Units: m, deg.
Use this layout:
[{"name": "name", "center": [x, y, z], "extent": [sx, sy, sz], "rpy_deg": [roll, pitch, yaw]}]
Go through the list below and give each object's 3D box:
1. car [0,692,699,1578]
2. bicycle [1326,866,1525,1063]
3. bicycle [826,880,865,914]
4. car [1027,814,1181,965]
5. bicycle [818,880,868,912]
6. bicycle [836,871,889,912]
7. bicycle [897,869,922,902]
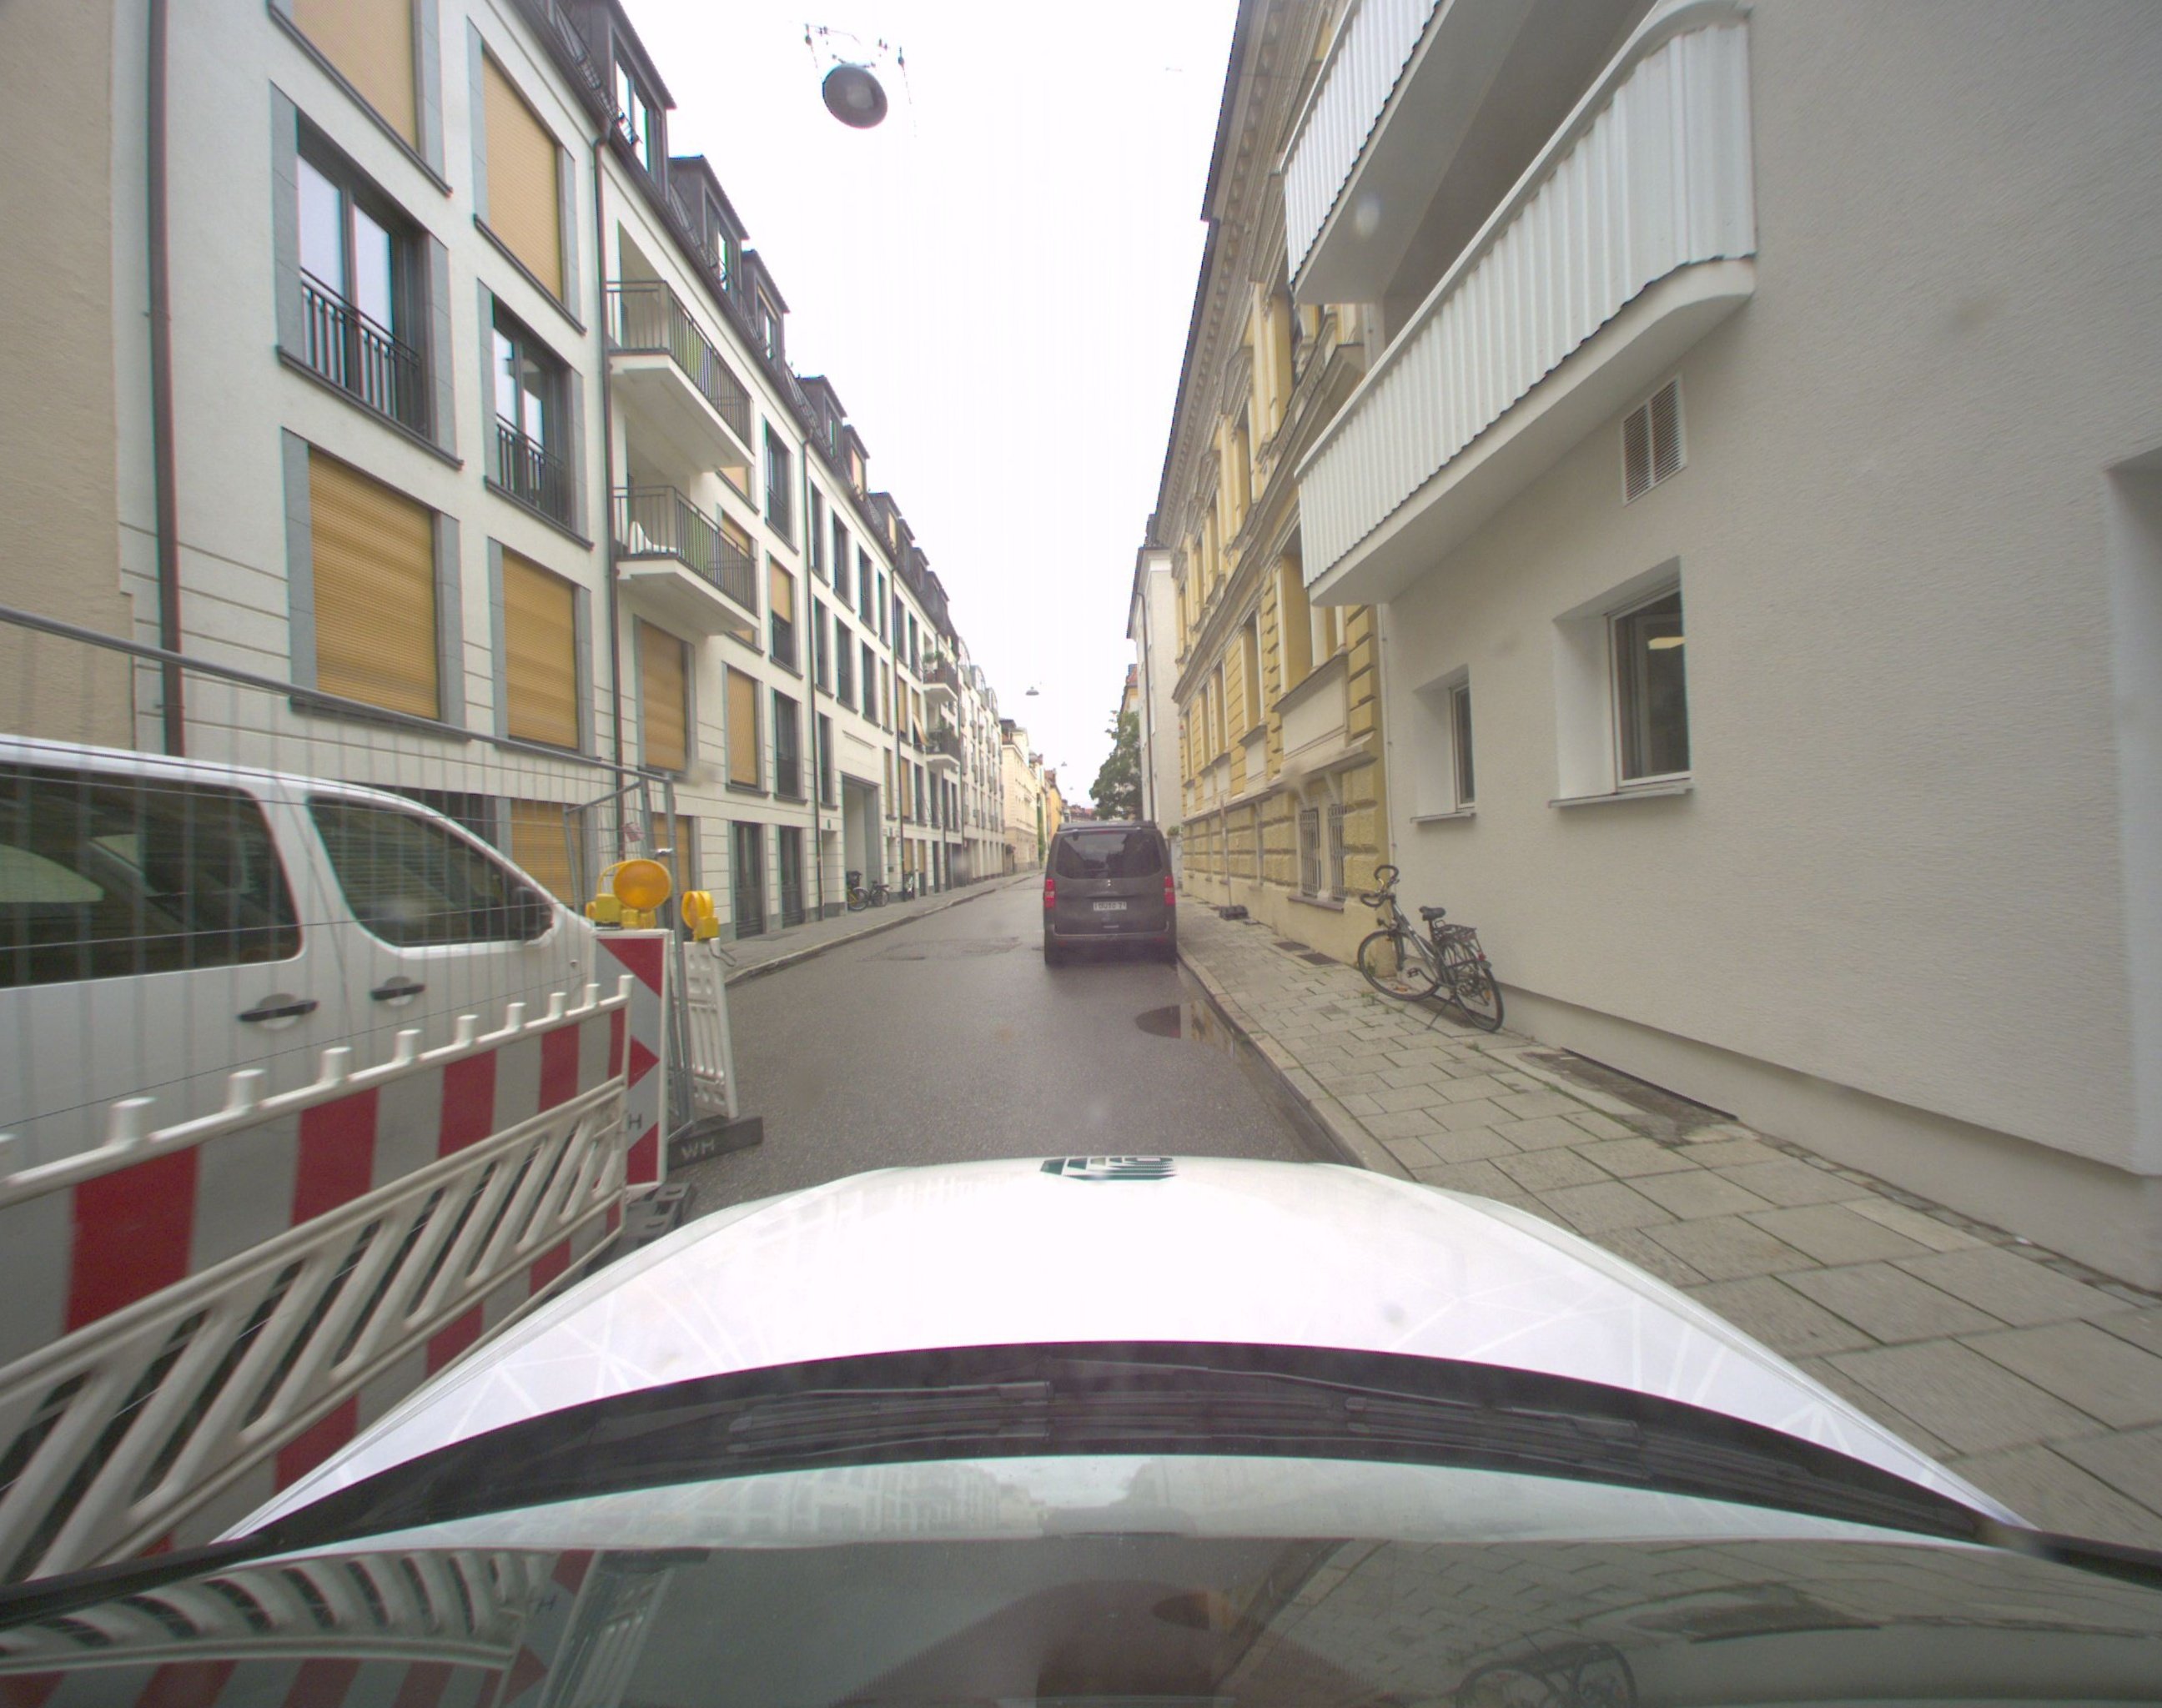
[{"name": "car", "center": [-3.325, 0.641, 2.644], "extent": [1.900, 1.897, 5.083], "rpy_deg": [-2, -1, -3]}, {"name": "bicycle", "center": [2.484, 0.716, 6.144], "extent": [0.636, 1.153, 1.916], "rpy_deg": [-5, 0, 1]}, {"name": "bicycle", "center": [-7.102, 1.276, 24.525], "extent": [1.071, 0.947, 0.305], "rpy_deg": [-2, 1, -34]}, {"name": "car", "center": [0.301, 0.470, 13.012], "extent": [1.987, 1.932, 4.659], "rpy_deg": [-1, 0, 0]}, {"name": "bicycle", "center": [-7.347, 1.286, 25.175], "extent": [1.396, 0.888, 0.376], "rpy_deg": [-2, 1, -34]}, {"name": "bicycle", "center": [-7.056, 1.200, 26.356], "extent": [0.375, 1.193, 1.696], "rpy_deg": [-1, 1, 44]}, {"name": "bicycle", "center": [-6.331, 1.151, 30.182], "extent": [0.338, 1.146, 2.192], "rpy_deg": [-3, -1, 2]}]
